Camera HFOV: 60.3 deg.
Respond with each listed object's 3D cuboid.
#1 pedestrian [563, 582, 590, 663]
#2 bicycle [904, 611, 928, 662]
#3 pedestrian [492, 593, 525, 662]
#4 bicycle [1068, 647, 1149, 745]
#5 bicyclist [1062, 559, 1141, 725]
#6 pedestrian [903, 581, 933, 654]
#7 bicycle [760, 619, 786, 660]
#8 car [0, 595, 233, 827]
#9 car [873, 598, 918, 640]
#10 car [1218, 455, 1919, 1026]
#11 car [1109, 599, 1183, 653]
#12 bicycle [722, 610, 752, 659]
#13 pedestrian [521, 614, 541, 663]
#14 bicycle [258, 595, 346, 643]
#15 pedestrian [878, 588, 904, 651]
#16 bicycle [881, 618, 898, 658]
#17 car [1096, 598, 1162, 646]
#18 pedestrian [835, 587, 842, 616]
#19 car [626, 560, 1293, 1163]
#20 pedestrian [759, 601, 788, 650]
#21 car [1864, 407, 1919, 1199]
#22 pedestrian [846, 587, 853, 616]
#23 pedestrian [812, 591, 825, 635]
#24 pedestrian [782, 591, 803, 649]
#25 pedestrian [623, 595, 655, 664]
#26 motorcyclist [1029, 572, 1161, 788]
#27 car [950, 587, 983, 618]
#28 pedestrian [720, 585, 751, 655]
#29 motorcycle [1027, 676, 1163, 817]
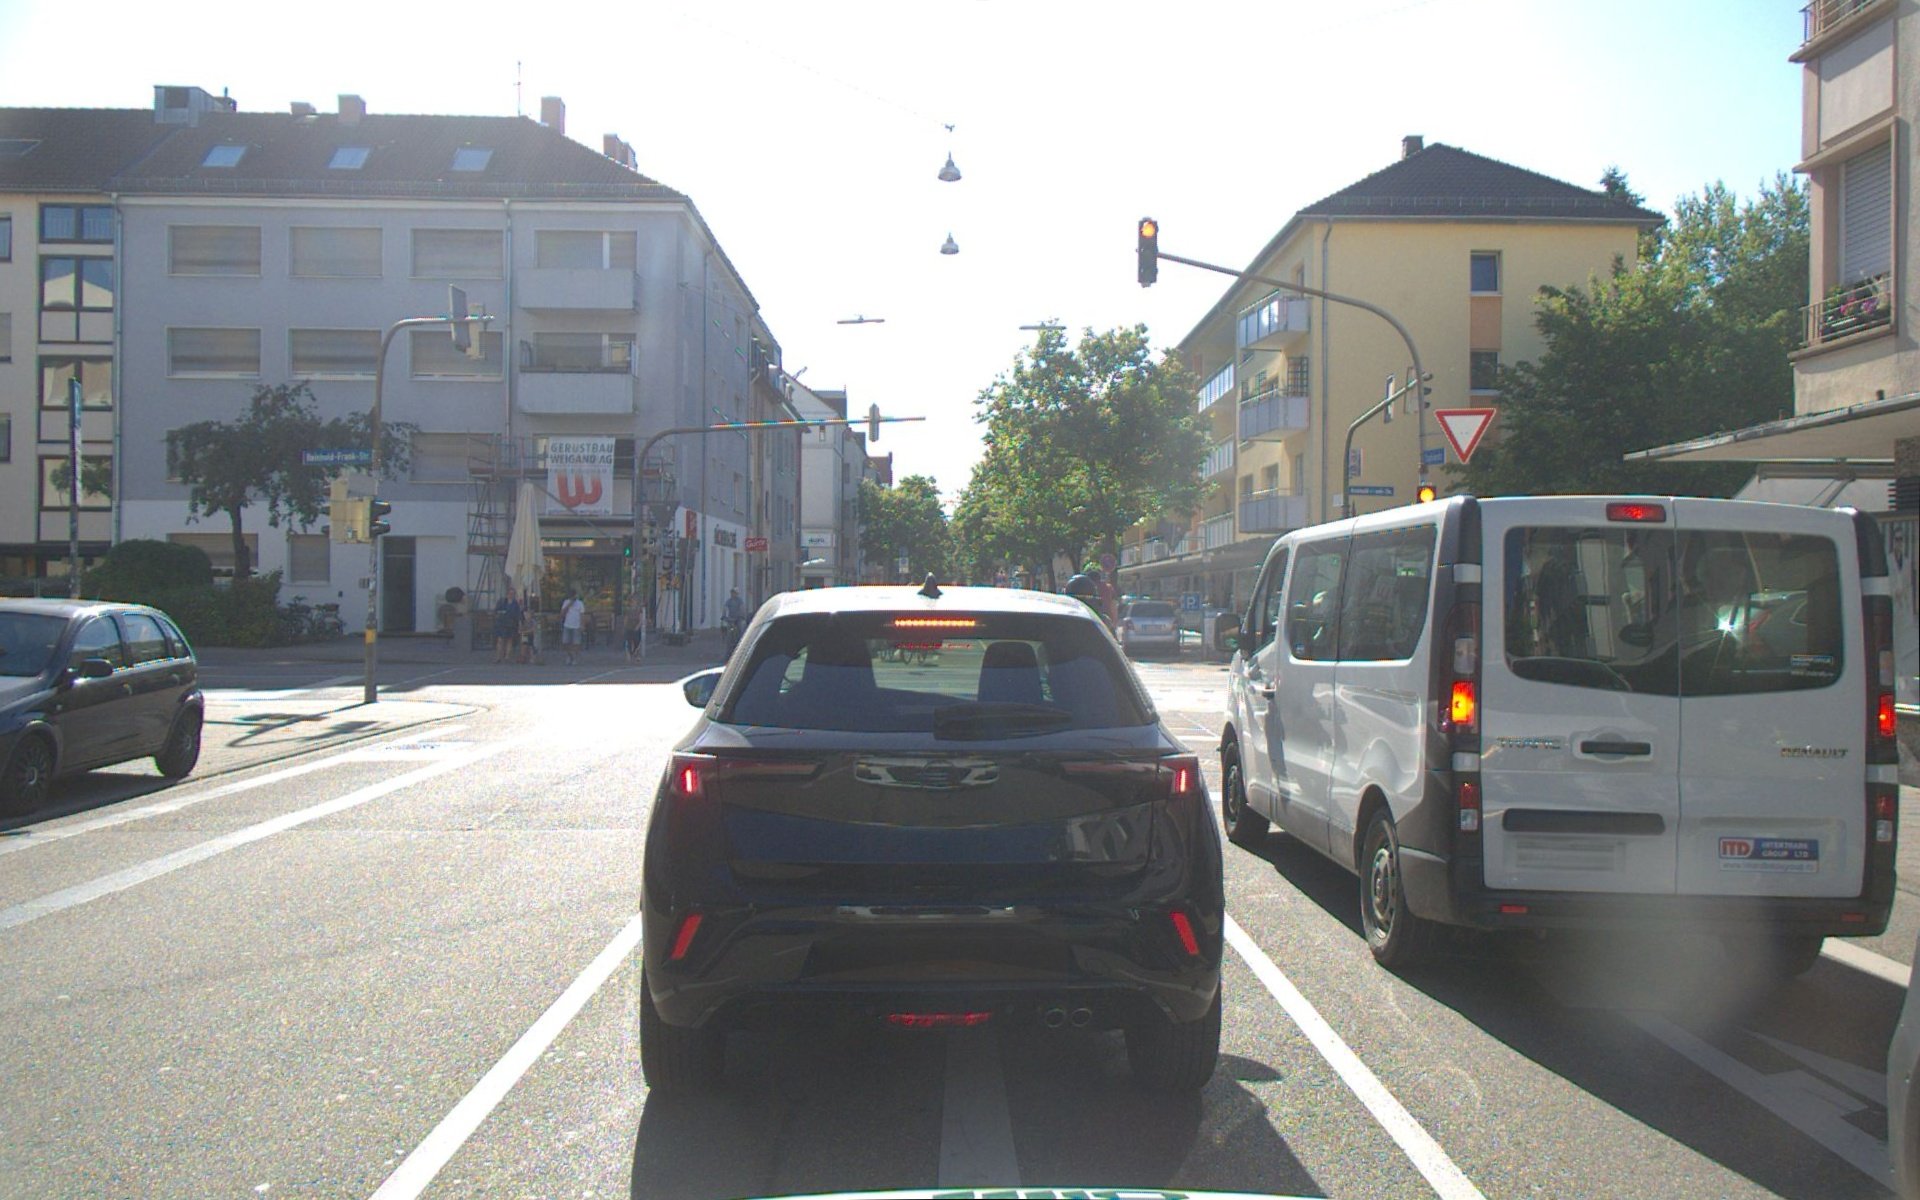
[{"bbox_3d":[-8.578,0.499,37.007,0.550,1.806,0.582,1,0,-9],"label":"pedestrian"},{"bbox_3d":[-1.066,0.858,39.795,0.511,1.167,2.169,0,0,-3],"label":"bicycle"},{"bbox_3d":[-10.170,0.610,37.264,0.573,1.547,0.649,0,0,-4],"label":"pedestrian"},{"bbox_3d":[1.572,1.002,17.813,0.565,0.920,2.300,0,0,-3],"label":"bicycle"},{"bbox_3d":[1.536,0.441,18.166,0.675,1.742,1.413,0,0,-3],"label":"bicyclist"},{"bbox_3d":[-1.014,0.404,39.706,0.692,1.731,0.802,0,0,-3],"label":"pedestrian"},{"bbox_3d":[-4.868,1.016,43.159,0.511,1.010,2.338,0,0,-3],"label":"bicycle"},{"bbox_3d":[-7.054,0.717,12.396,1.584,1.450,3.709,2,0,-1],"label":"car"},{"bbox_3d":[-2.820,0.805,72.897,1.787,1.758,4.000,0,0,1],"label":"car"},{"bbox_3d":[2.734,0.506,8.452,1.953,2.014,4.894,2,0,-1],"label":"car"},{"bbox_3d":[5.284,0.710,47.319,1.601,1.458,3.956,0,0,-1],"label":"car"},{"bbox_3d":[-5.564,0.851,41.335,0.511,1.167,2.282,0,0,-3],"label":"bicycle"},{"bbox_3d":[-9.687,0.867,37.338,0.348,1.111,0.461,0,0,-4],"label":"pedestrian"},{"bbox_3d":[-16.859,0.484,42.384,2.067,1.193,0.735,0,0,-25],"label":"bicycle"},{"bbox_3d":[-1.810,0.503,43.339,0.666,1.634,0.762,0,0,-3],"label":"pedestrian"},{"bbox_3d":[-1.866,0.983,43.624,0.434,1.010,2.068,0,0,-3],"label":"bicycle"},{"bbox_3d":[5.281,0.662,52.000,1.601,1.458,3.999,0,0,-1],"label":"car"},{"bbox_3d":[-7.283,0.089,98.892,0.394,1.704,0.417,0,0,-1],"label":"pedestrian"},{"bbox_3d":[-0.079,0.673,6.319,1.735,1.557,3.998,0,0,-3],"label":"car"},{"bbox_3d":[-4.878,0.661,43.206,0.692,1.275,0.802,0,0,-3],"label":"pedestrian"},{"bbox_3d":[3.010,0.561,1.207,1.799,1.901,4.994,0,0,-3],"label":"car"},{"bbox_3d":[-6.598,0.099,98.864,0.394,1.704,0.417,0,0,-1],"label":"pedestrian"},{"bbox_3d":[-5.553,0.513,64.967,0.478,1.719,0.588,0,0,-1],"label":"pedestrian"},{"bbox_3d":[-5.018,0.605,49.513,0.558,1.719,0.588,0,0,-1],"label":"pedestrian"},{"bbox_3d":[-7.294,0.670,37.611,0.605,1.547,0.724,0,0,-4],"label":"pedestrian"},{"bbox_3d":[0.985,0.568,12.337,0.846,1.528,1.159,0,0,-2],"label":"motorcyclist"},{"bbox_3d":[0.377,0.114,97.247,1.863,1.758,4.073,0,0,0],"label":"car"},{"bbox_3d":[-5.599,0.491,41.273,0.692,1.707,0.802,0,0,-3],"label":"pedestrian"},{"bbox_3d":[0.955,1.038,12.180,0.808,0.860,1.884,0,0,-1],"label":"motorcycle"}]
